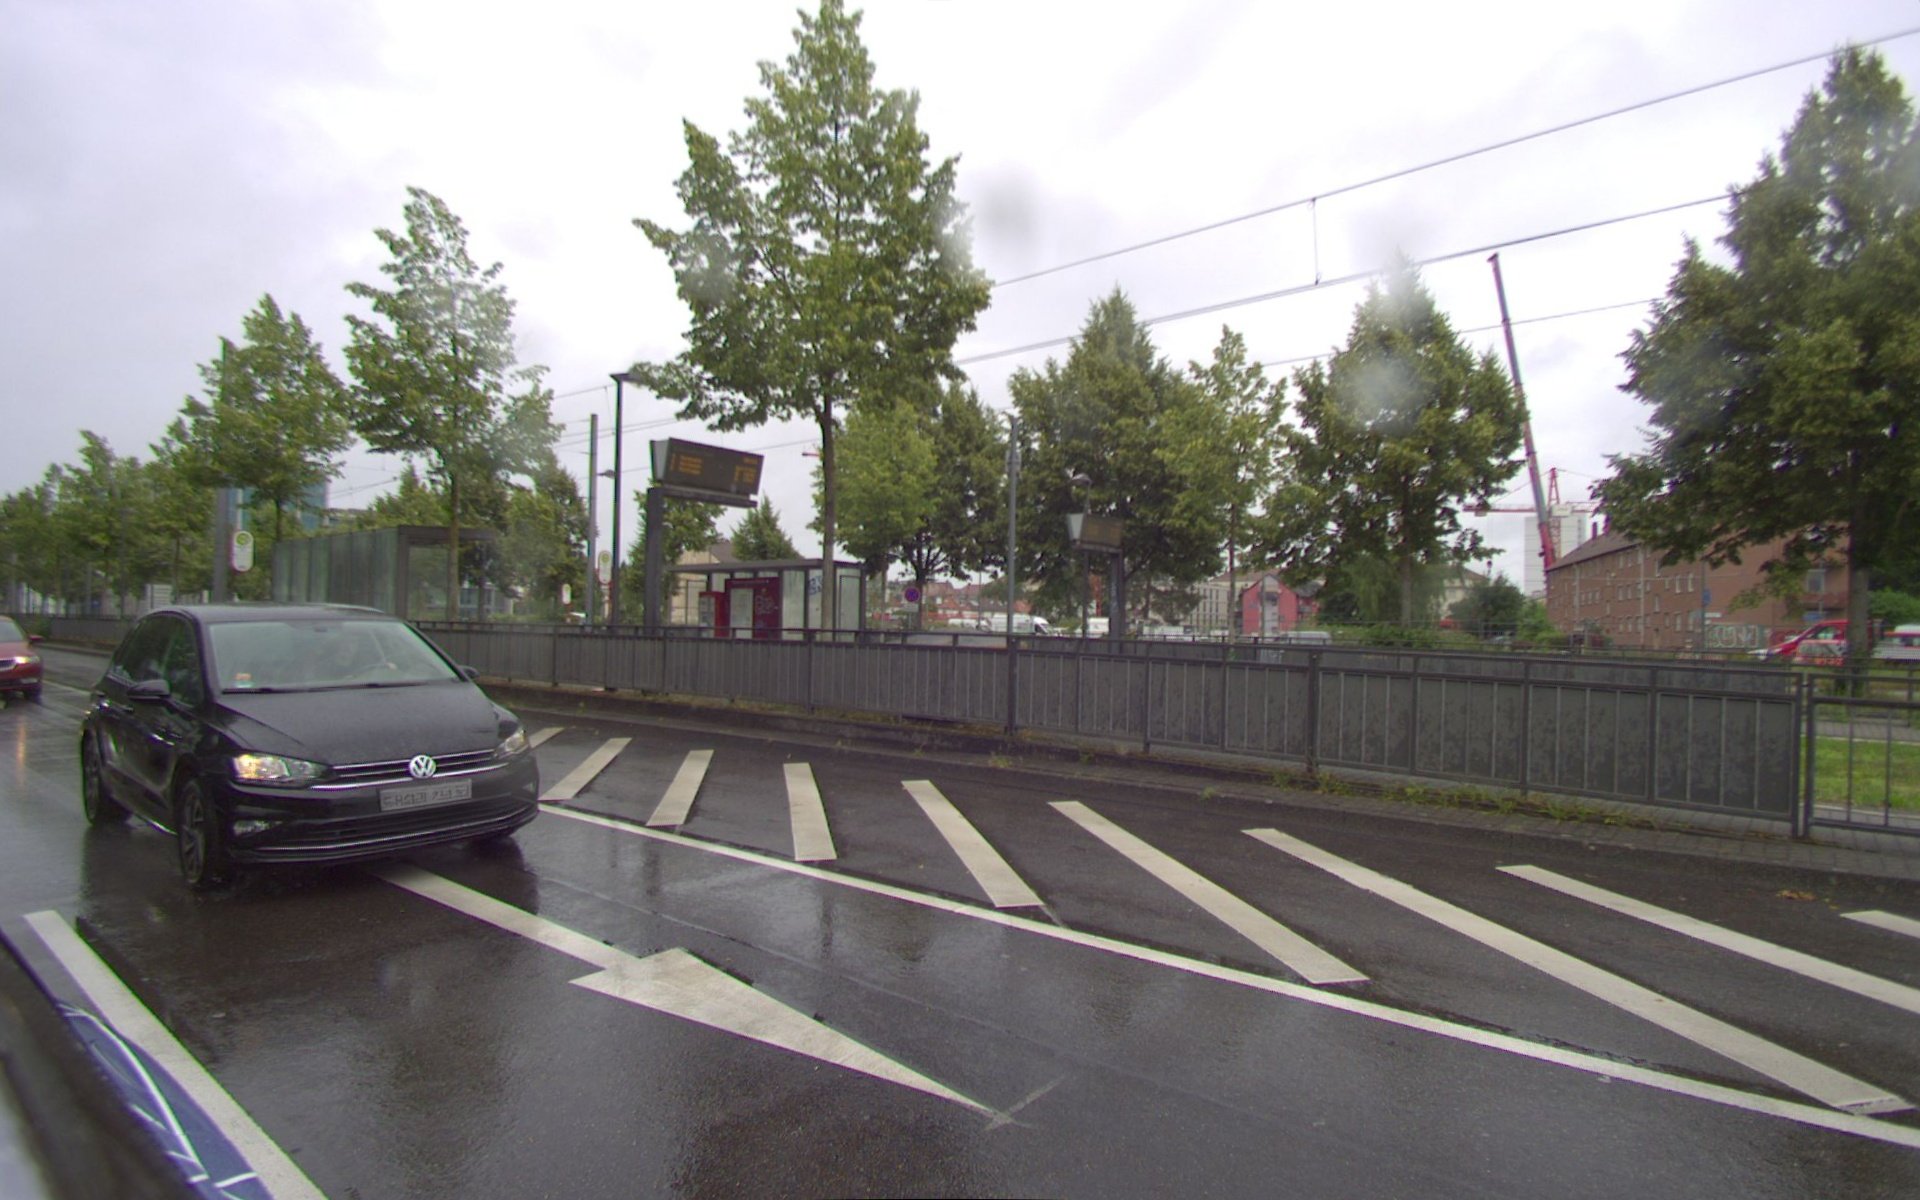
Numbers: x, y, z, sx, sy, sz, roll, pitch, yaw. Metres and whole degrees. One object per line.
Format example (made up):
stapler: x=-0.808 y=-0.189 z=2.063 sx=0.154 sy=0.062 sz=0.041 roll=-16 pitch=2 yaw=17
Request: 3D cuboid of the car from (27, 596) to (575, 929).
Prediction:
car: x=-4.551 y=0.767 z=6.719 sx=4.326 sy=1.529 sz=1.766 roll=-1 pitch=0 yaw=38

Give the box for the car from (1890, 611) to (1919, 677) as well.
car: x=46.097 y=1.989 z=45.189 sx=2.319 sy=2.961 sz=6.441 roll=-1 pitch=0 yaw=-38

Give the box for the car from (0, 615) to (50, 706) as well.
car: x=-17.559 y=1.021 z=17.830 sx=4.313 sy=1.470 sz=1.765 roll=-1 pitch=0 yaw=41

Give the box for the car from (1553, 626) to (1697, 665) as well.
car: x=36.919 y=2.490 z=56.459 sx=6.393 sy=2.029 sz=2.336 roll=-1 pitch=0 yaw=26

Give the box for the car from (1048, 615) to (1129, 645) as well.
car: x=11.318 y=2.586 z=89.433 sx=6.826 sy=2.495 sz=2.470 roll=-1 pitch=0 yaw=38

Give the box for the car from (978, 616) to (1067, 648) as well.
car: x=5.256 y=2.666 z=85.989 sx=7.627 sy=2.495 sz=2.327 roll=-1 pitch=0 yaw=38

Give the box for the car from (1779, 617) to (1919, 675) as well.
car: x=34.805 y=1.673 z=37.607 sx=2.319 sy=2.029 sz=6.441 roll=-1 pitch=0 yaw=-38

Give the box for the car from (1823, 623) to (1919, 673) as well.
car: x=40.126 y=1.987 z=41.811 sx=2.319 sy=2.029 sz=6.440 roll=2 pitch=-3 yaw=-38

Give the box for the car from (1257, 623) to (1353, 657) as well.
car: x=26.523 y=3.042 z=77.870 sx=6.804 sy=2.495 sz=2.335 roll=0 pitch=-2 yaw=28
